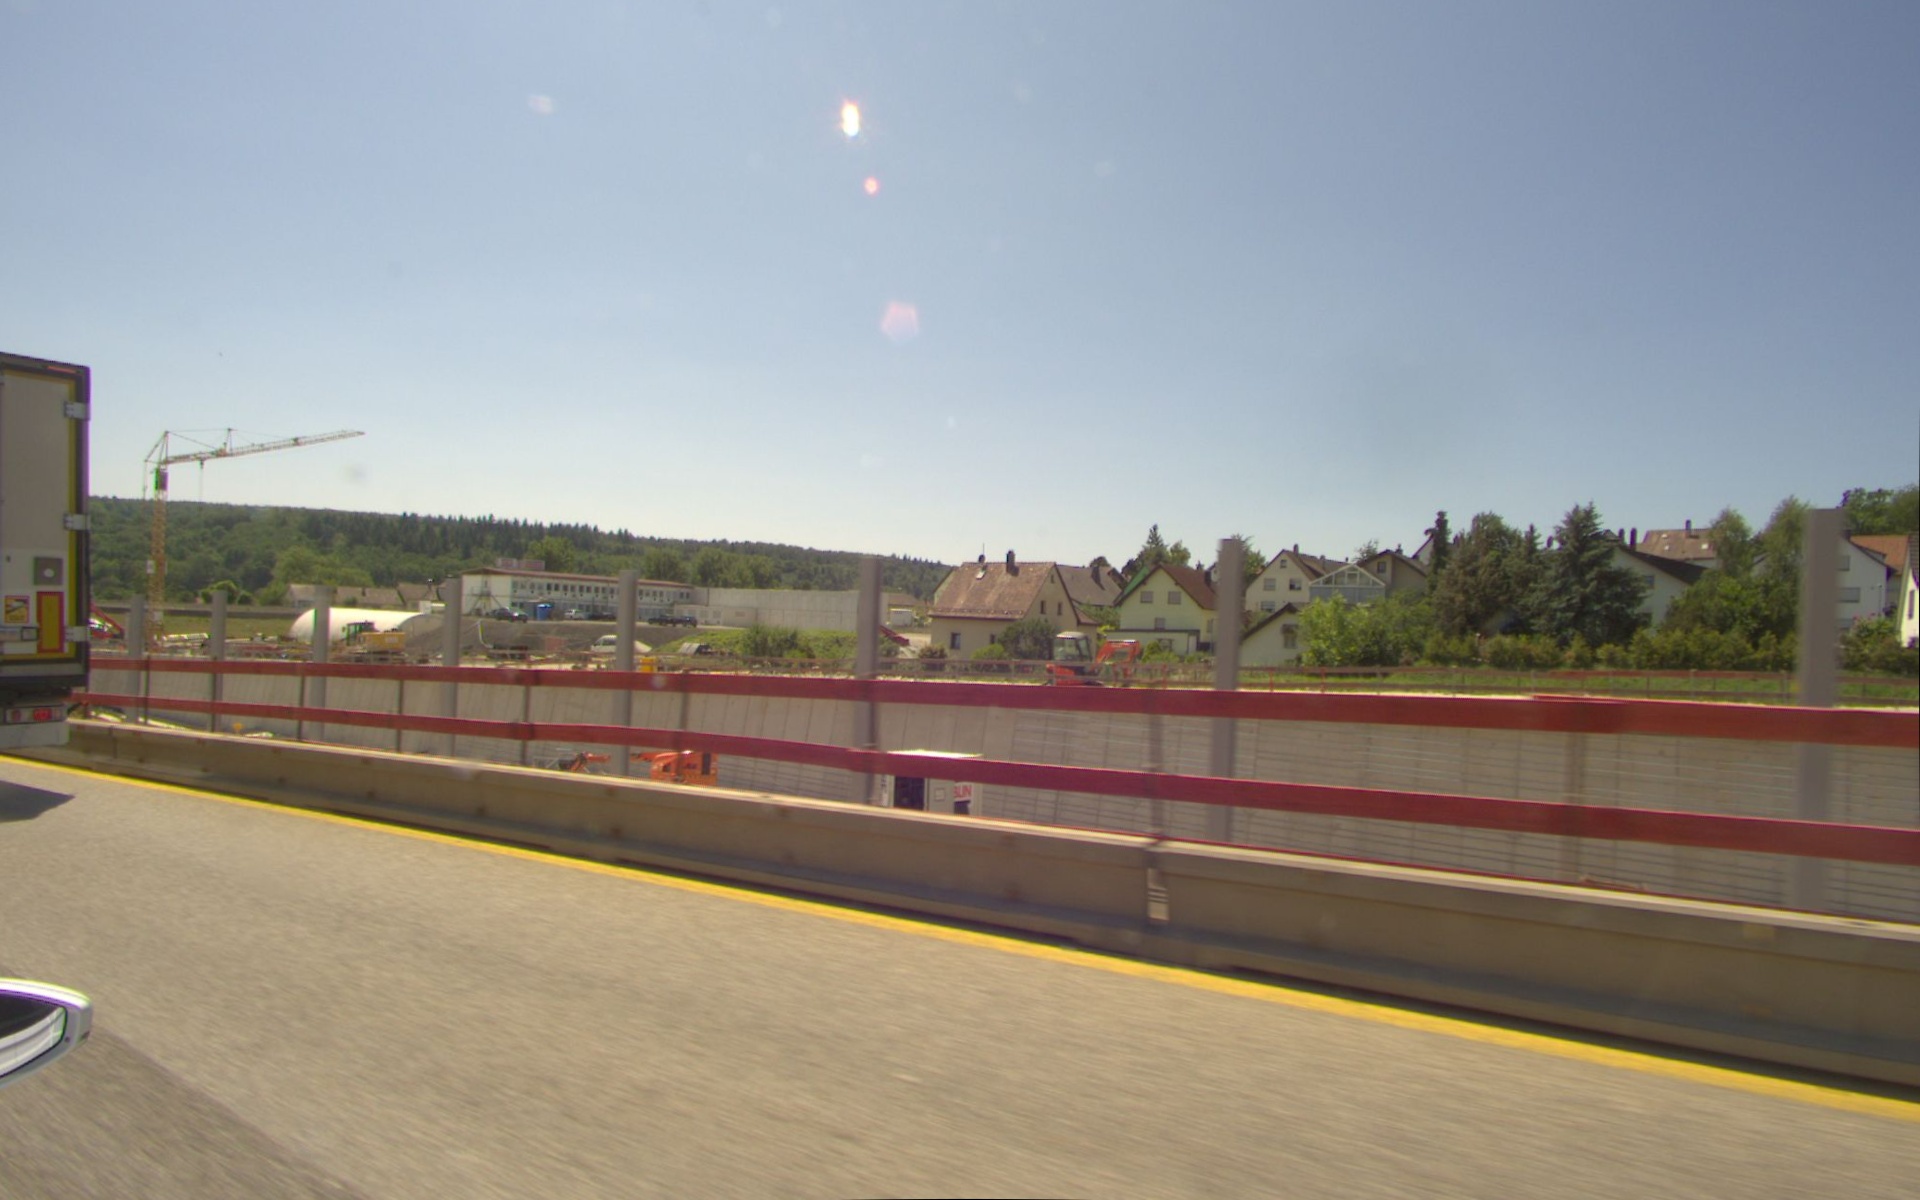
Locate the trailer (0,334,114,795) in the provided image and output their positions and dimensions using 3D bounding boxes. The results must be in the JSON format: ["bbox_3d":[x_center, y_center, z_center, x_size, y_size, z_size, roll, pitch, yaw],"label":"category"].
[{"bbox_3d":[-14.734,-0.190,12.145,13.916,4.110,2.796,-1,-2,32],"label":"trailer"}]

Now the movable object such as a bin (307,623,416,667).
[{"bbox_3d":[-42.801,3.177,71.508,9.346,2.946,2.882,-1,-2,33],"label":"movable object such as a bin"}]

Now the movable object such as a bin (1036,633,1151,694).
[{"bbox_3d":[5.301,2.469,39.797,4.093,2.267,1.990,-1,-2,33],"label":"movable object such as a bin"}]
